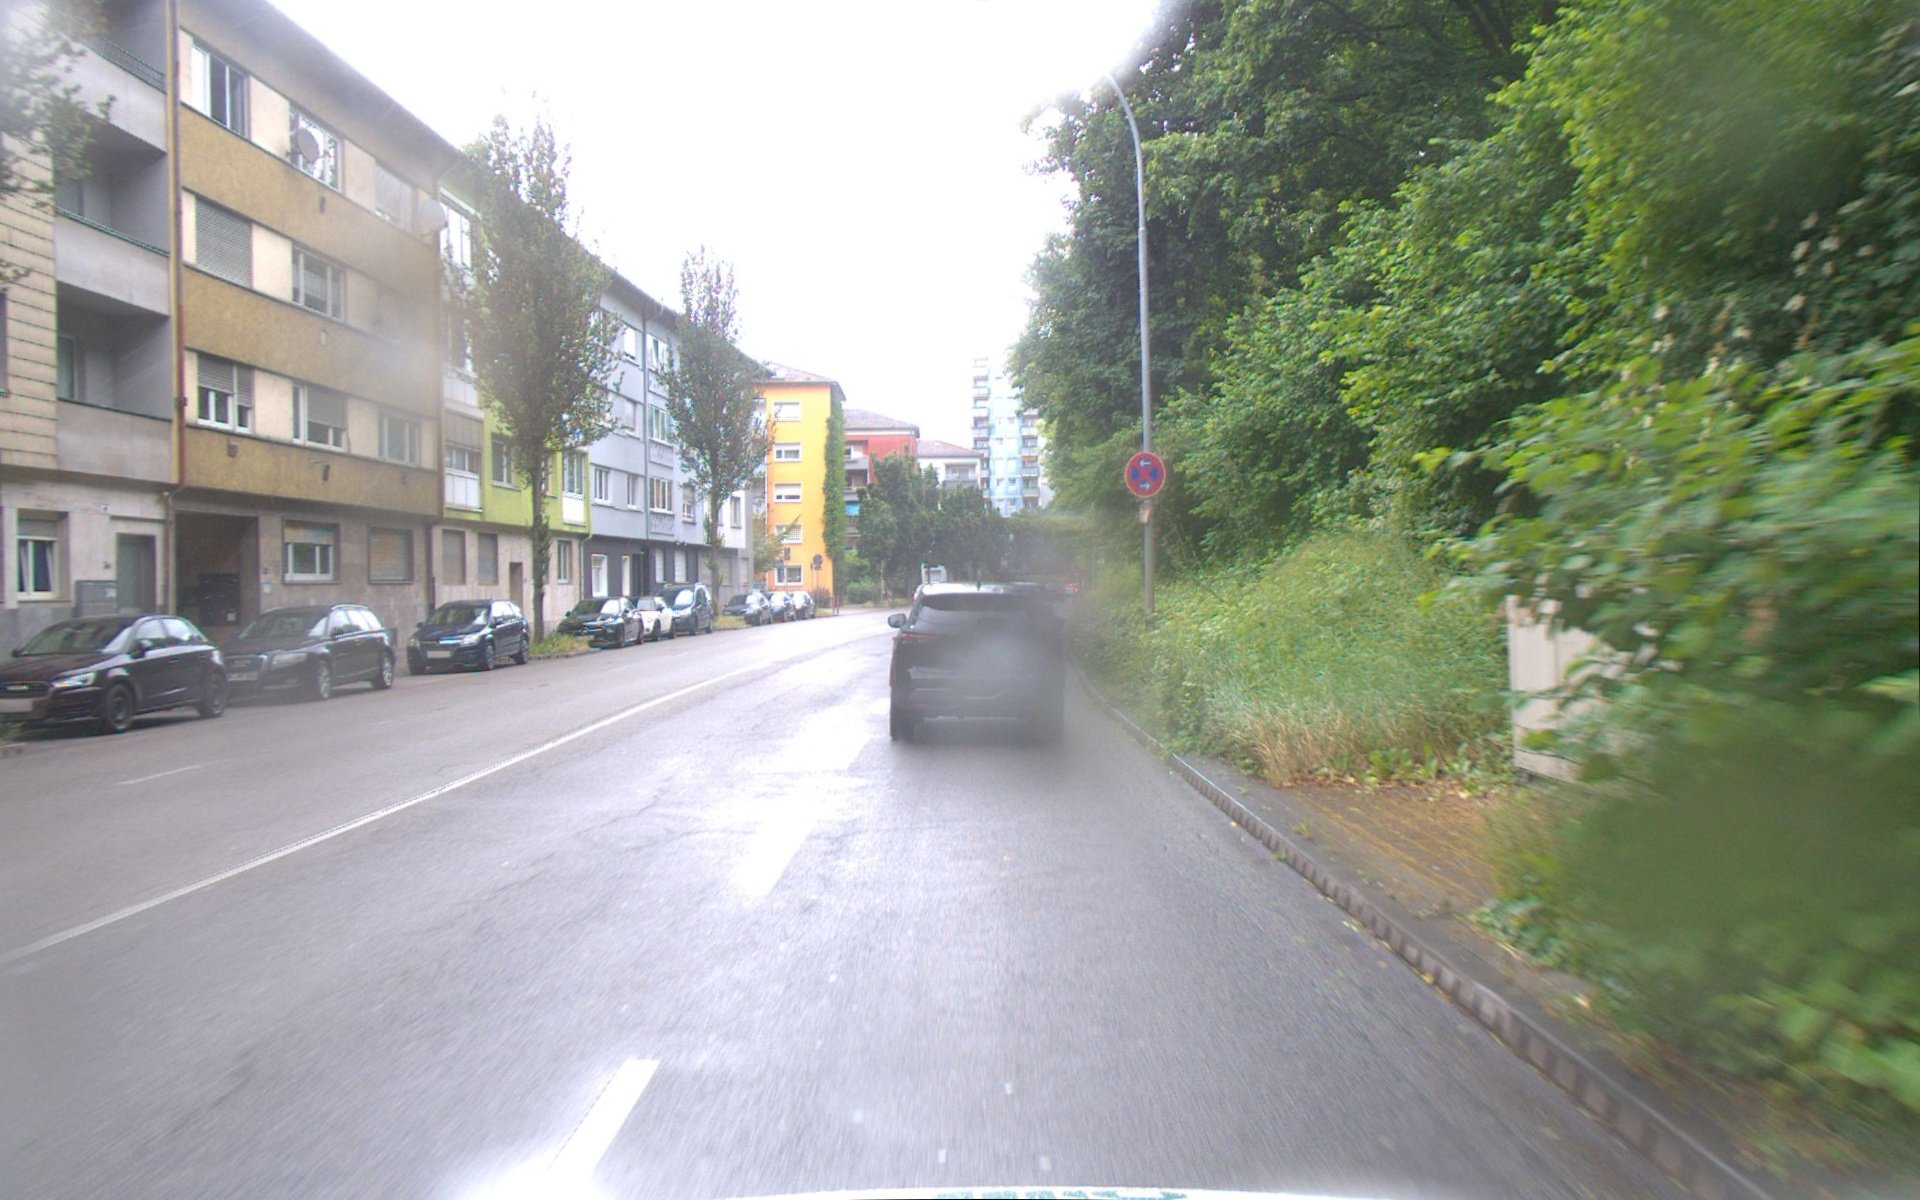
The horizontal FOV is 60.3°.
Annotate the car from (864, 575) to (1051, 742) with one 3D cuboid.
[{"bbox_3d":[0.082,0.537,18.159,1.806,1.610,4.002,1,1,3],"label":"car"}]

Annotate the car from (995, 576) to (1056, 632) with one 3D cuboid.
[{"bbox_3d":[2.168,0.117,53.632,1.847,1.741,4.002,0,1,4],"label":"car"}]

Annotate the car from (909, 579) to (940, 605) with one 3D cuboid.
[{"bbox_3d":[-2.197,-0.496,101.871,1.671,1.504,3.681,-2,1,2],"label":"car"}]

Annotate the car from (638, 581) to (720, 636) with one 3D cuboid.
[{"bbox_3d":[-9.962,0.268,59.031,1.851,1.797,4.603,-2,1,3],"label":"car"}]

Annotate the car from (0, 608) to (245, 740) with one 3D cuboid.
[{"bbox_3d":[-10.791,0.870,21.031,1.592,1.411,3.989,-2,1,1],"label":"car"}]

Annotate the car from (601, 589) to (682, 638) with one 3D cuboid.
[{"bbox_3d":[-10.259,0.406,53.505,1.645,1.400,4.001,-3,1,2],"label":"car"}]

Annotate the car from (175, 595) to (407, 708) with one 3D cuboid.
[{"bbox_3d":[-10.679,0.752,26.818,1.780,1.514,4.790,-3,1,0],"label":"car"}]

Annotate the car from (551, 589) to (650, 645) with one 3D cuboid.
[{"bbox_3d":[-10.310,0.448,47.708,1.780,1.396,4.680,-3,1,0],"label":"car"}]

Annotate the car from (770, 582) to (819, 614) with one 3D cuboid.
[{"bbox_3d":[-8.368,-0.124,83.929,1.676,1.450,4.325,-3,1,4],"label":"car"}]

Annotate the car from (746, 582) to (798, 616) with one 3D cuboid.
[{"bbox_3d":[-8.842,-0.064,78.247,1.645,1.474,4.278,-4,1,4],"label":"car"}]

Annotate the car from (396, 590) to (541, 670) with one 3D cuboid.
[{"bbox_3d":[-10.638,0.604,36.134,1.683,1.514,4.515,-3,1,1],"label":"car"}]

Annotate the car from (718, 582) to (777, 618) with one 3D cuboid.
[{"bbox_3d":[-9.217,-0.015,72.098,1.653,1.381,4.581,-4,1,3],"label":"car"}]
